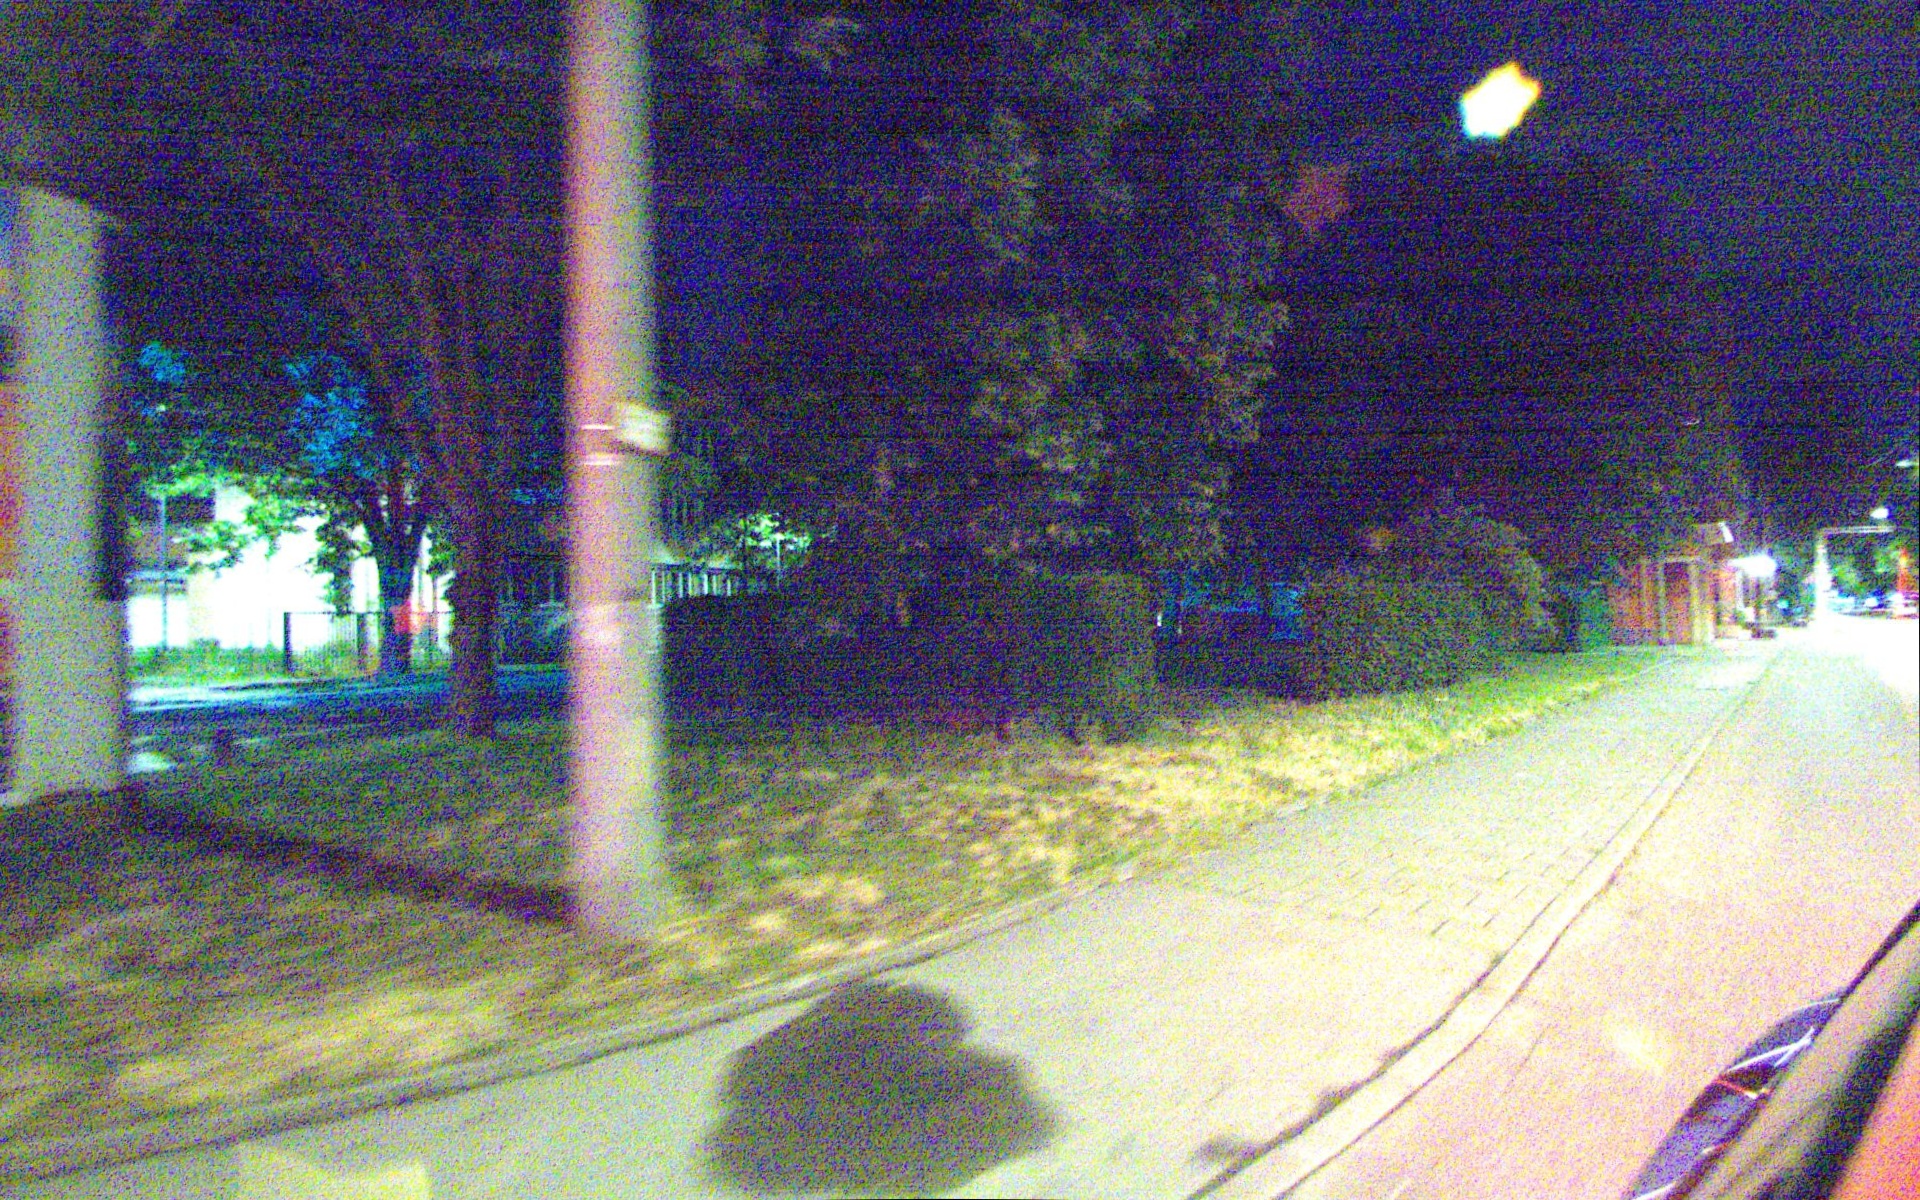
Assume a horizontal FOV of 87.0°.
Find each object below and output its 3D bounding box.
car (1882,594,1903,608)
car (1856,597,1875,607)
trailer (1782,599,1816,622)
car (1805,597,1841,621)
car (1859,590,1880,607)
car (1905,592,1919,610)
[{"bbox_3d":[116.076,0.128,125.987,1.820,1.668,3.675,-1,-1,41],"label":"car"},{"bbox_3d":[136.039,0.306,152.062,1.817,1.451,3.679,-6,-4,38],"label":"car"},{"bbox_3d":[60.535,0.759,73.006,1.600,1.514,3.674,-4,-3,44],"label":"trailer"},{"bbox_3d":[55.517,0.554,65.102,1.585,1.480,3.738,-3,-2,42],"label":"car"},{"bbox_3d":[144.024,-0.255,160.323,1.995,2.540,4.885,-6,-4,38],"label":"car"},{"bbox_3d":[98.907,0.055,104.336,1.875,1.833,3.675,-6,-4,41],"label":"car"}]
